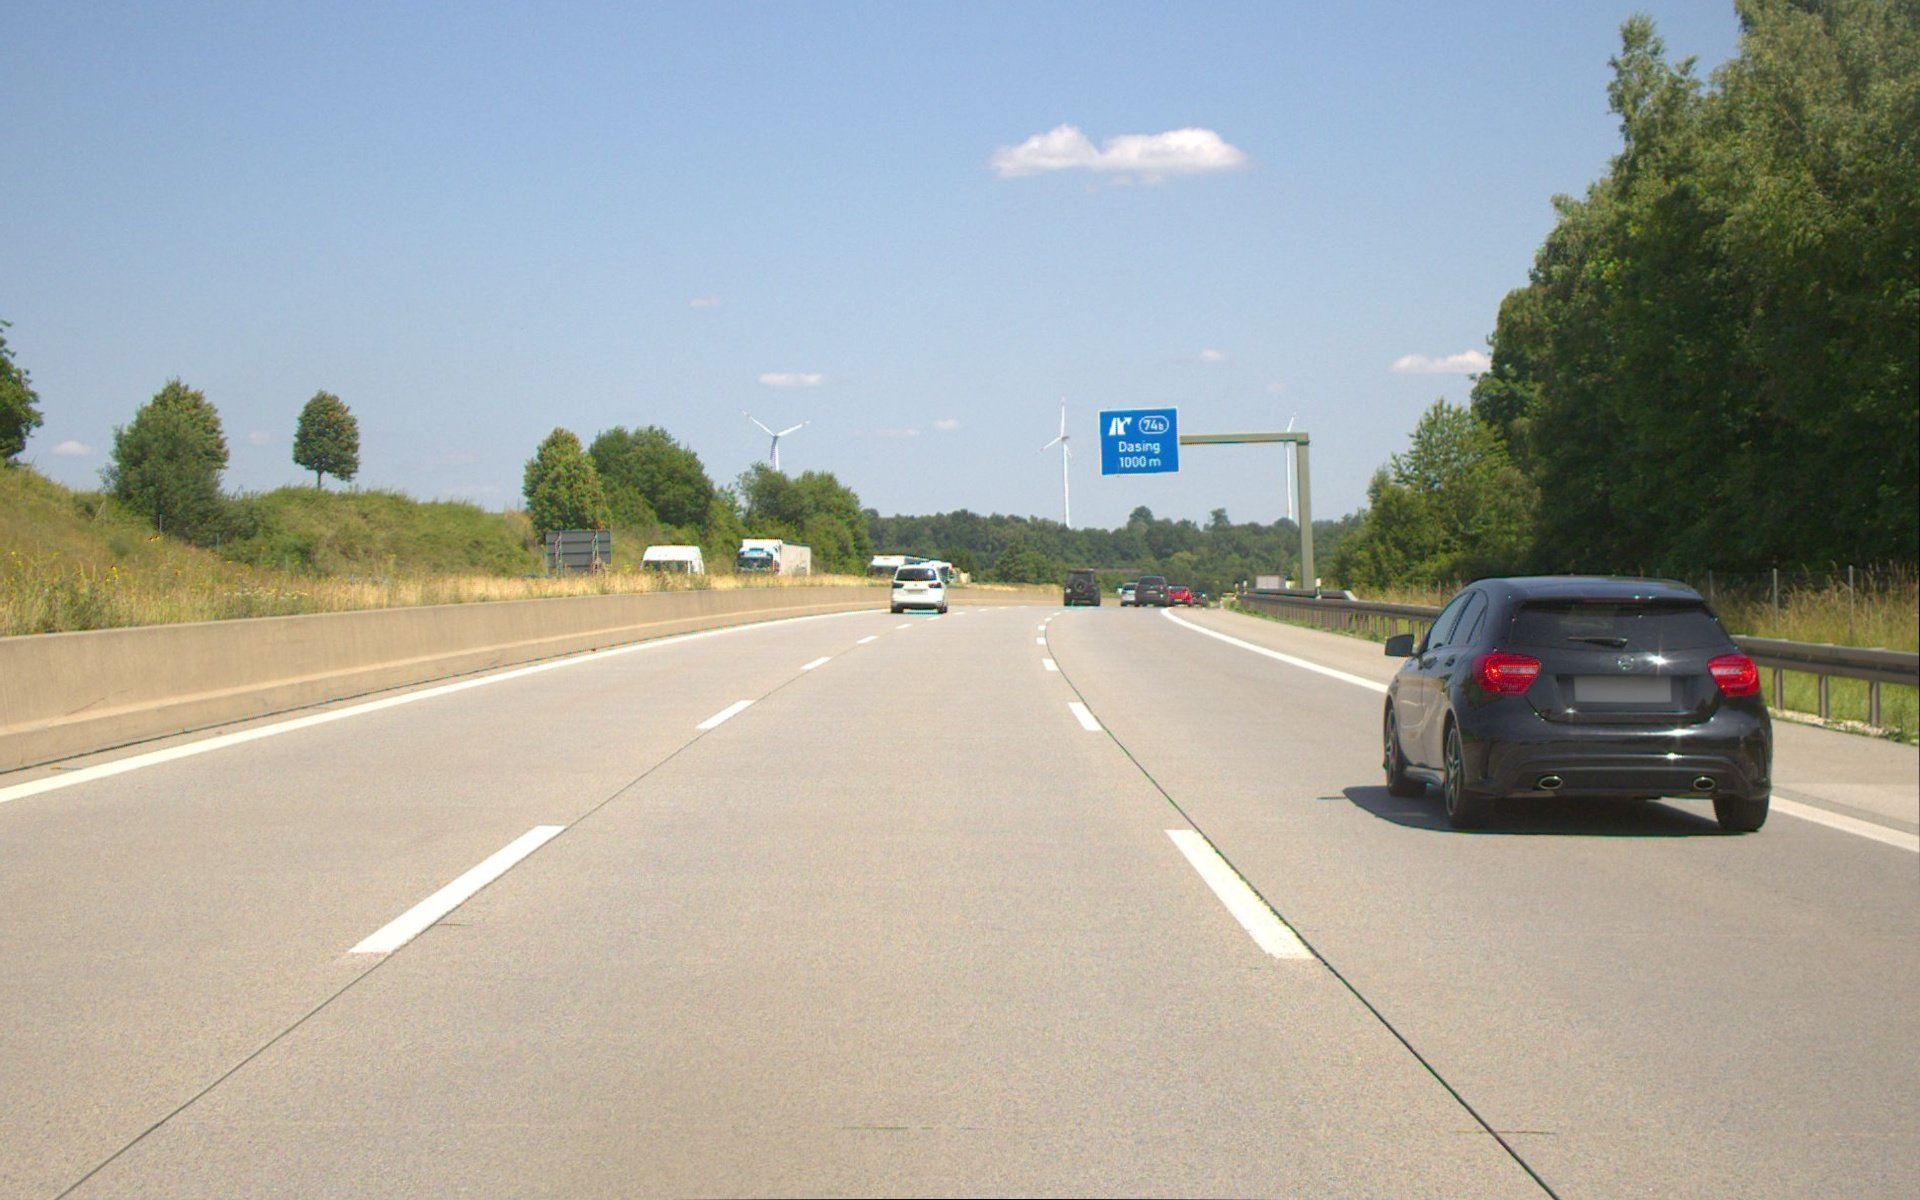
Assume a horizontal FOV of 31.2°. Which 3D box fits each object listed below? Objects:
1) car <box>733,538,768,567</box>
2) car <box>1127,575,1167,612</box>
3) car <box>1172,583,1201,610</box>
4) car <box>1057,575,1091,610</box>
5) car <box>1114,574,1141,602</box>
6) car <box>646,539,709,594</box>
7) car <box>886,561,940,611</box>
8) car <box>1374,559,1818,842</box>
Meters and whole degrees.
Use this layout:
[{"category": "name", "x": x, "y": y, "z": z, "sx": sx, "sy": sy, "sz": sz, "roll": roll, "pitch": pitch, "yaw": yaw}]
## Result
[{"category": "car", "x": -13.072, "y": -2.964, "z": 214.607, "sx": 1.863, "sy": 1.809, "sz": 4.000, "roll": 0, "pitch": 1, "yaw": 0}, {"category": "car", "x": 9.907, "y": -0.373, "z": 182.433, "sx": 1.827, "sy": 1.900, "sz": 4.000, "roll": 0, "pitch": 1, "yaw": -1}, {"category": "car", "x": 16.041, "y": -0.263, "z": 243.389, "sx": 1.788, "sy": 1.804, "sz": 3.746, "roll": 0, "pitch": 1, "yaw": -1}, {"category": "car", "x": 6.424, "y": -0.439, "z": 194.434, "sx": 1.827, "sy": 1.931, "sz": 3.809, "roll": 0, "pitch": 1, "yaw": 1}, {"category": "car", "x": 12.513, "y": -0.890, "z": 257.115, "sx": 1.744, "sy": 1.983, "sz": 4.000, "roll": 0, "pitch": 1, "yaw": 0}, {"category": "car", "x": -10.472, "y": -1.251, "z": 127.748, "sx": 1.993, "sy": 2.007, "sz": 4.000, "roll": 0, "pitch": 1, "yaw": 0}, {"category": "car", "x": -1.674, "y": -0.518, "z": 121.302, "sx": 1.845, "sy": 1.702, "sz": 6.036, "roll": 0, "pitch": 1, "yaw": -1}, {"category": "car", "x": 3.672, "y": 0.514, "z": 20.593, "sx": 1.910, "sy": 1.487, "sz": 4.192, "roll": 1, "pitch": 1, "yaw": 1}]
